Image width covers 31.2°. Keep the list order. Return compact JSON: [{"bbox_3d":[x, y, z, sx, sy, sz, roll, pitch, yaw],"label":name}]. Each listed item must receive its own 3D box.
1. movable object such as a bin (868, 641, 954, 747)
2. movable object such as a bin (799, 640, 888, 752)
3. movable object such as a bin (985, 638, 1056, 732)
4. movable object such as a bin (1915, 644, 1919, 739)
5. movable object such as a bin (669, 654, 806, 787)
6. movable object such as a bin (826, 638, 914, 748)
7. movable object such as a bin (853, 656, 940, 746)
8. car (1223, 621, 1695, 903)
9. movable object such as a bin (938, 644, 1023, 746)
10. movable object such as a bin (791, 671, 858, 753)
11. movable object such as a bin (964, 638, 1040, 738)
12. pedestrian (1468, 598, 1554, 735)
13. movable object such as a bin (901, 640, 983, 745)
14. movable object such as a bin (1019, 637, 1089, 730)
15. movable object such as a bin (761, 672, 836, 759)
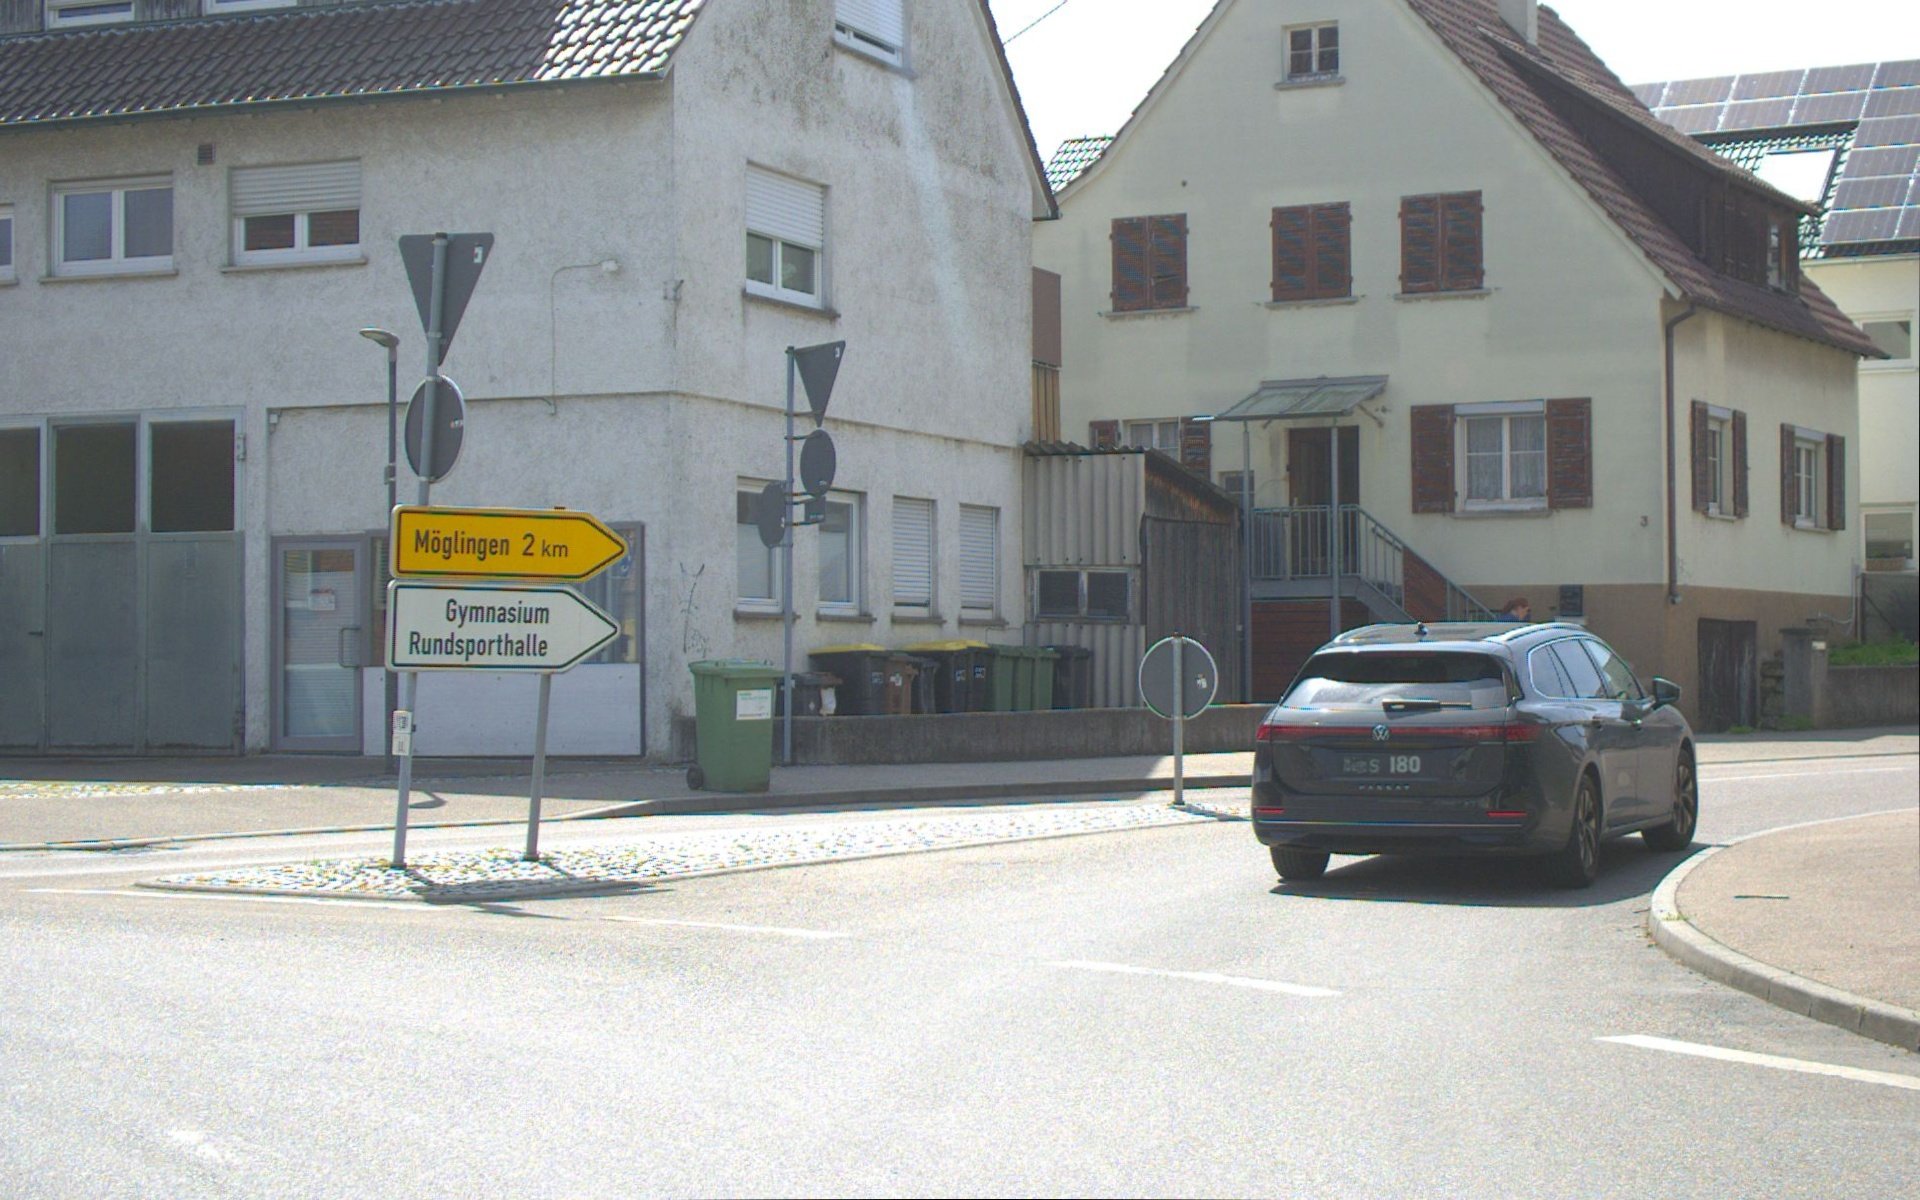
[{"bbox_3d":[-0.505,0.967,35.680,0.683,1.078,0.697,0,0,20],"label":"movable object such as a bin"},{"bbox_3d":[-1.148,0.943,34.001,0.683,1.082,0.644,0,0,20],"label":"movable object such as a bin"},{"bbox_3d":[0.679,0.941,38.456,0.628,1.032,0.603,0,0,20],"label":"movable object such as a bin"},{"bbox_3d":[11.181,1.013,38.364,0.793,1.054,0.649,-1,-1,43],"label":"movable object such as a bin"},{"bbox_3d":[-1.820,0.972,28.091,0.824,1.041,0.811,0,0,-33],"label":"movable object such as a bin"},{"bbox_3d":[-0.905,0.932,34.653,0.683,1.082,0.697,0,0,20],"label":"movable object such as a bin"},{"bbox_3d":[-0.653,1.030,35.320,0.683,0.893,0.697,0,0,20],"label":"movable object such as a bin"},{"bbox_3d":[3.090,0.856,20.400,1.843,1.415,4.677,0,0,20],"label":"car"},{"bbox_3d":[0.228,1.017,37.166,0.739,1.078,0.659,0,0,20],"label":"movable object such as a bin"},{"bbox_3d":[-1.315,1.082,33.404,0.485,0.778,0.527,0,0,20],"label":"movable object such as a bin"},{"bbox_3d":[0.463,0.969,37.897,0.679,1.078,0.583,0,0,20],"label":"movable object such as a bin"},{"bbox_3d":[6.402,0.758,39.946,0.778,1.569,0.626,0,0,38],"label":"pedestrian"},{"bbox_3d":[-0.190,0.970,36.337,0.683,1.078,0.625,0,0,20],"label":"movable object such as a bin"},{"bbox_3d":[1.064,0.941,38.970,0.629,1.030,0.612,0,0,20],"label":"movable object such as a bin"},{"bbox_3d":[-1.539,1.101,32.862,0.485,0.803,0.646,0,0,22],"label":"movable object such as a bin"}]
